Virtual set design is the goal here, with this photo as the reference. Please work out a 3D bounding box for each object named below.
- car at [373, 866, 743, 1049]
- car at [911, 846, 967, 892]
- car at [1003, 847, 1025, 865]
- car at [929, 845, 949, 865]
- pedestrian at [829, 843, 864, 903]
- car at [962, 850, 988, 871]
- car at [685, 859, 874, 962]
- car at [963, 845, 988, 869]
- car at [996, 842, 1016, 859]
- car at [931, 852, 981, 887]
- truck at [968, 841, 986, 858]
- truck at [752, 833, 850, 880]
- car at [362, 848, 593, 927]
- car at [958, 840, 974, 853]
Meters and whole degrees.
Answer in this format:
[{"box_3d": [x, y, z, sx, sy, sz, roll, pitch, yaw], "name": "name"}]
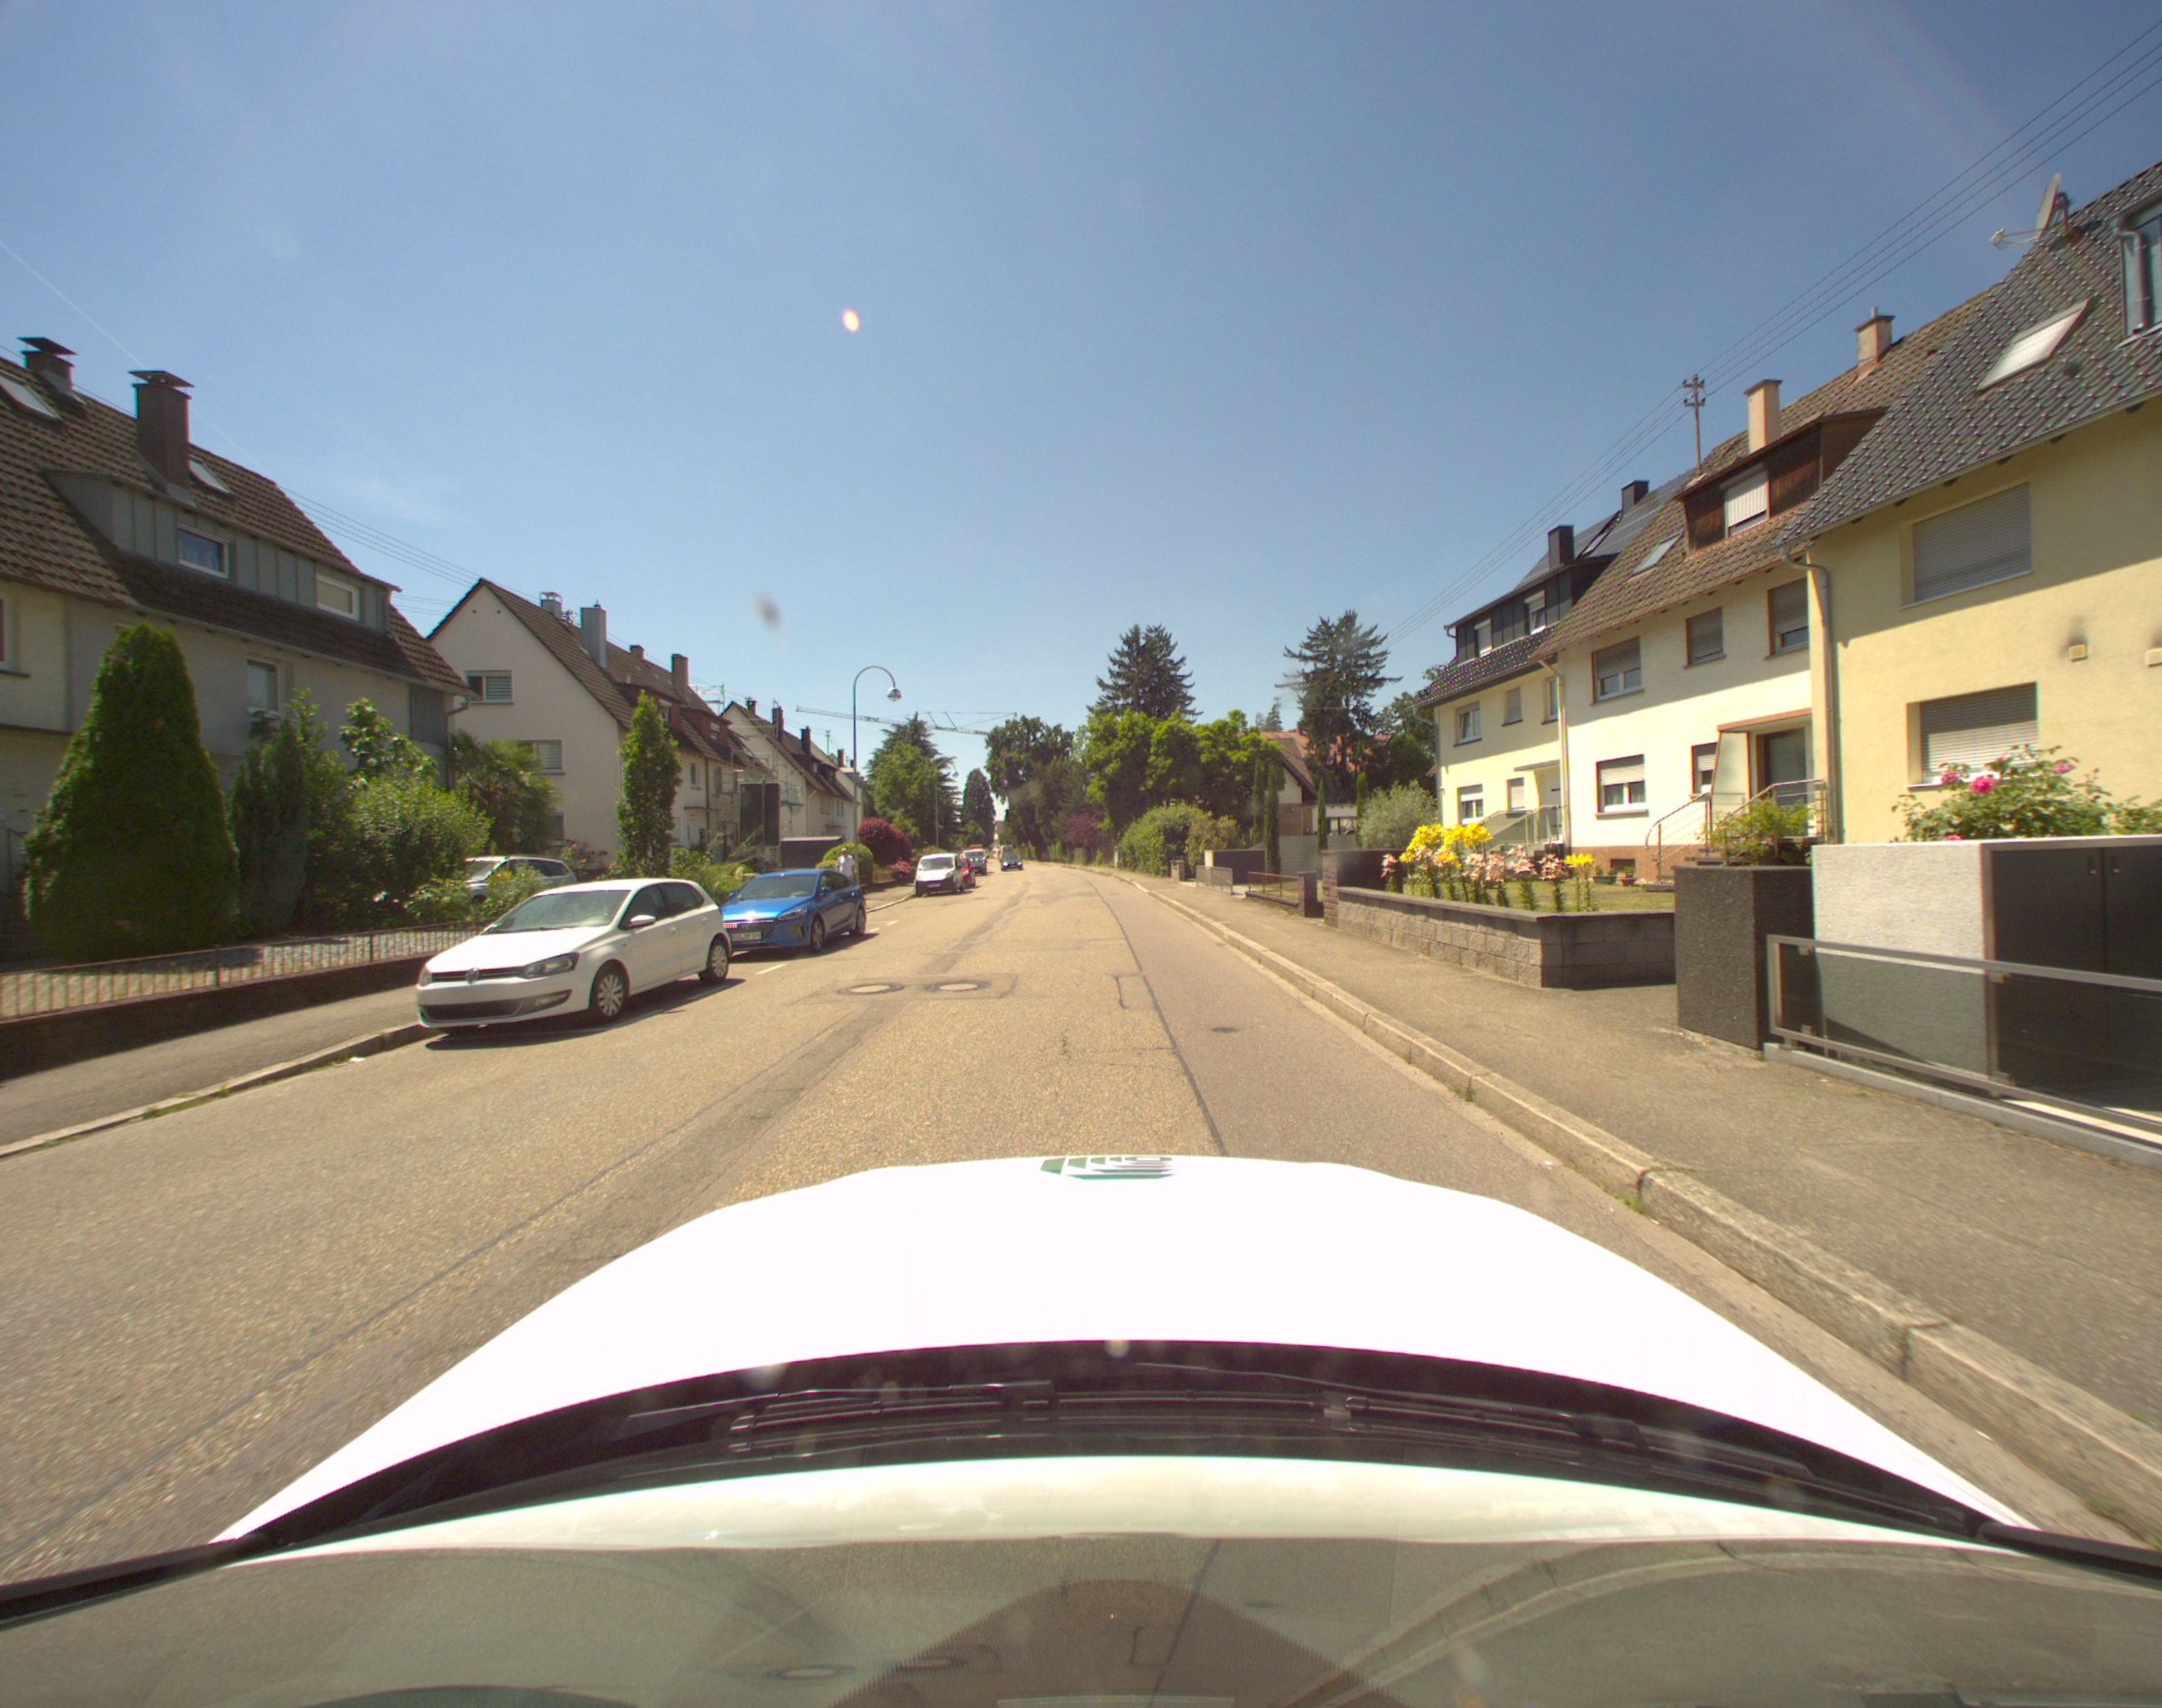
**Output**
[{"box_3d": [-5.554, 0.966, 9.350, 1.573, 1.423, 3.941, -4, 1, 0], "name": "car"}, {"box_3d": [-5.954, 0.581, 34.527, 1.718, 1.736, 3.884, -4, 1, -2], "name": "car"}, {"box_3d": [-5.745, 0.180, 70.131, 1.729, 1.417, 3.994, -3, 0, -4], "name": "car"}, {"box_3d": [-13.826, 0.067, 79.488, 1.647, 1.752, 4.342, -3, 1, -8], "name": "car"}, {"box_3d": [-7.664, 0.614, 26.662, 0.686, 1.889, 1.020, 3, 0, 4], "name": "pedestrian"}, {"box_3d": [-7.668, 0.442, 59.269, 1.697, 1.384, 4.226, -3, 1, -6], "name": "car"}, {"box_3d": [-5.340, 0.918, 15.110, 1.763, 1.438, 4.362, -4, 1, 0], "name": "car"}, {"box_3d": [-8.731, 0.217, 67.265, 1.885, 1.881, 4.968, -3, 1, -7], "name": "car"}, {"box_3d": [-11.422, -0.526, 123.540, 2.147, 2.315, 4.828, -4, 1, -15], "name": "car"}, {"box_3d": [-6.029, 0.701, 39.643, 1.755, 1.477, 4.056, -3, 1, -1], "name": "car"}, {"box_3d": [-18.020, -0.726, 140.445, 2.376, 2.829, 5.634, -3, 1, -13], "name": "truck"}, {"box_3d": [-12.536, 0.094, 36.630, 3.760, 1.937, 1.544, -3, 1, -4], "name": "truck"}, {"box_3d": [-12.972, 0.710, 17.933, 1.763, 1.508, 4.361, 0, -2, 0], "name": "car"}, {"box_3d": [-16.405, -1.084, 115.676, 1.852, 1.671, 4.694, -4, 1, -11], "name": "car"}]
